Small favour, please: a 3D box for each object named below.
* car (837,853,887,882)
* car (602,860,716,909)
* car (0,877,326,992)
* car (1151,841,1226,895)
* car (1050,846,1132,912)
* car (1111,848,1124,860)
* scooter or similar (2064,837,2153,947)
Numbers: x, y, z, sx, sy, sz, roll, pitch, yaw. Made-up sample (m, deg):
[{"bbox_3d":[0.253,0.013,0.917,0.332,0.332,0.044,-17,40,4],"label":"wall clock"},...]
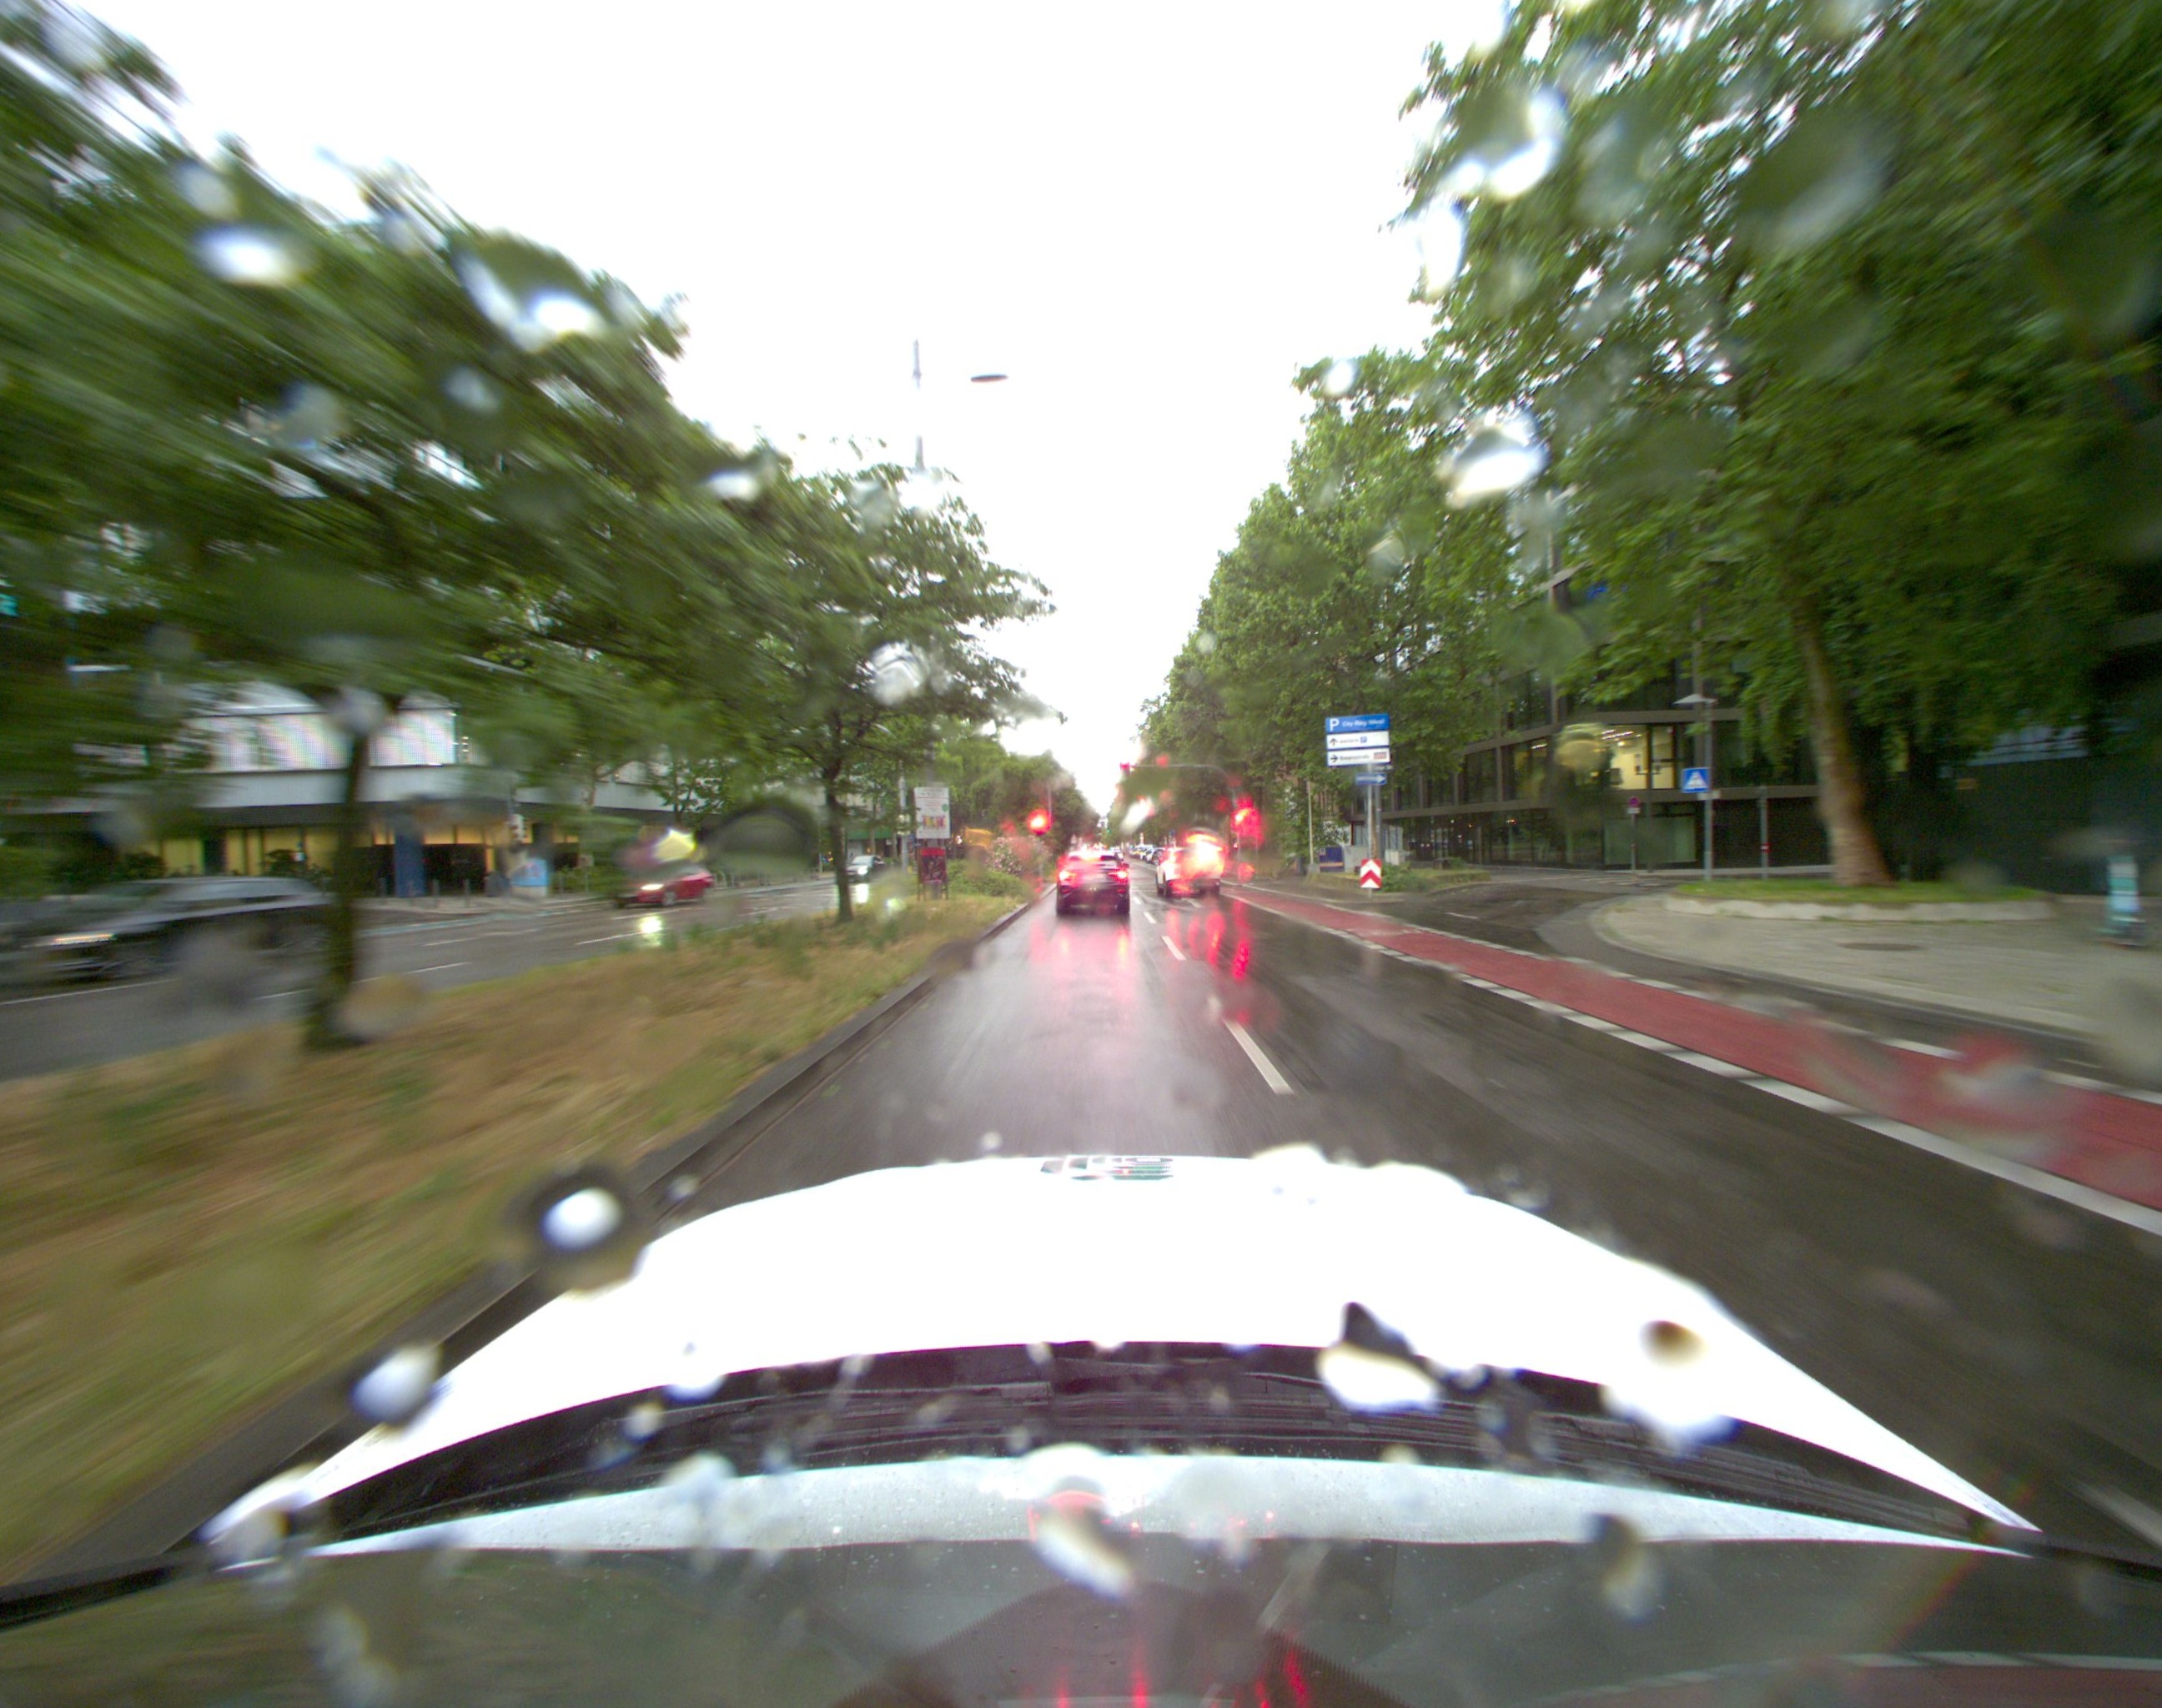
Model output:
[{"bbox_3d":[-13.125,0.778,48.983,1.824,1.552,4.189,-1,0,0],"label":"car"},{"bbox_3d":[-14.282,0.990,27.852,1.609,1.394,4.185,-1,1,1],"label":"car"},{"bbox_3d":[-14.781,1.150,12.896,1.837,1.389,4.001,-2,0,1],"label":"car"},{"bbox_3d":[3.608,0.403,28.170,1.986,1.655,4.890,-1,1,1],"label":"car"},{"bbox_3d":[0.268,0.571,21.309,1.912,1.491,4.001,-1,1,1],"label":"car"},{"bbox_3d":[5.373,-0.062,120.128,1.615,1.666,4.001,-2,1,1],"label":"car"},{"bbox_3d":[12.091,0.416,9.608,0.377,1.228,1.086,-1,0,37],"label":"scooter or similar"}]
